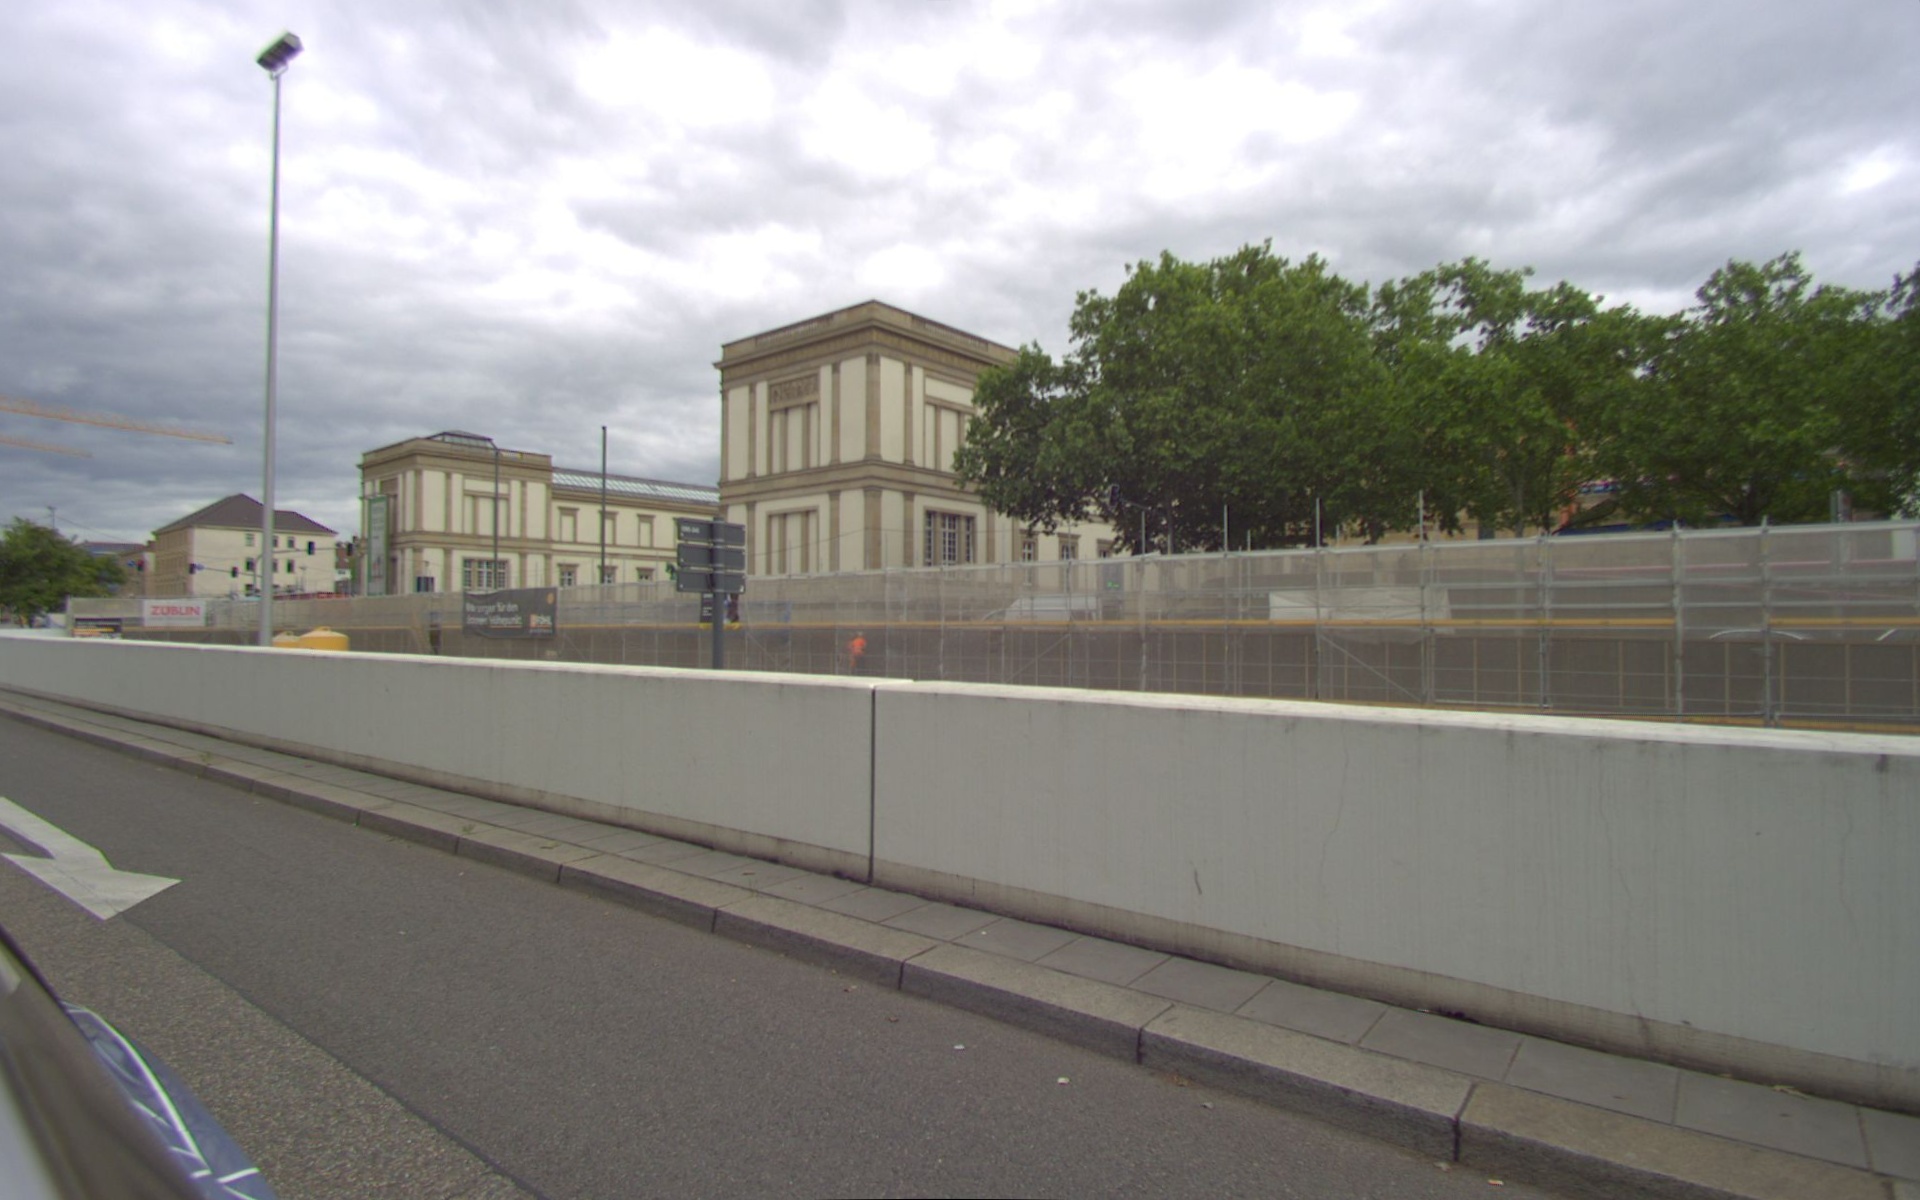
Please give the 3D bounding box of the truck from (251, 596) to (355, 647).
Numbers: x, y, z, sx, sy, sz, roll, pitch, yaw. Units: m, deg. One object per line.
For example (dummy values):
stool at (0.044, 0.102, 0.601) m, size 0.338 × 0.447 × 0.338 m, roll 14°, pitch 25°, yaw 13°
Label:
truck at (-57.624, 2.054, 88.380) m, size 16.601 × 4.114 × 2.887 m, roll -2°, pitch -4°, yaw 40°
